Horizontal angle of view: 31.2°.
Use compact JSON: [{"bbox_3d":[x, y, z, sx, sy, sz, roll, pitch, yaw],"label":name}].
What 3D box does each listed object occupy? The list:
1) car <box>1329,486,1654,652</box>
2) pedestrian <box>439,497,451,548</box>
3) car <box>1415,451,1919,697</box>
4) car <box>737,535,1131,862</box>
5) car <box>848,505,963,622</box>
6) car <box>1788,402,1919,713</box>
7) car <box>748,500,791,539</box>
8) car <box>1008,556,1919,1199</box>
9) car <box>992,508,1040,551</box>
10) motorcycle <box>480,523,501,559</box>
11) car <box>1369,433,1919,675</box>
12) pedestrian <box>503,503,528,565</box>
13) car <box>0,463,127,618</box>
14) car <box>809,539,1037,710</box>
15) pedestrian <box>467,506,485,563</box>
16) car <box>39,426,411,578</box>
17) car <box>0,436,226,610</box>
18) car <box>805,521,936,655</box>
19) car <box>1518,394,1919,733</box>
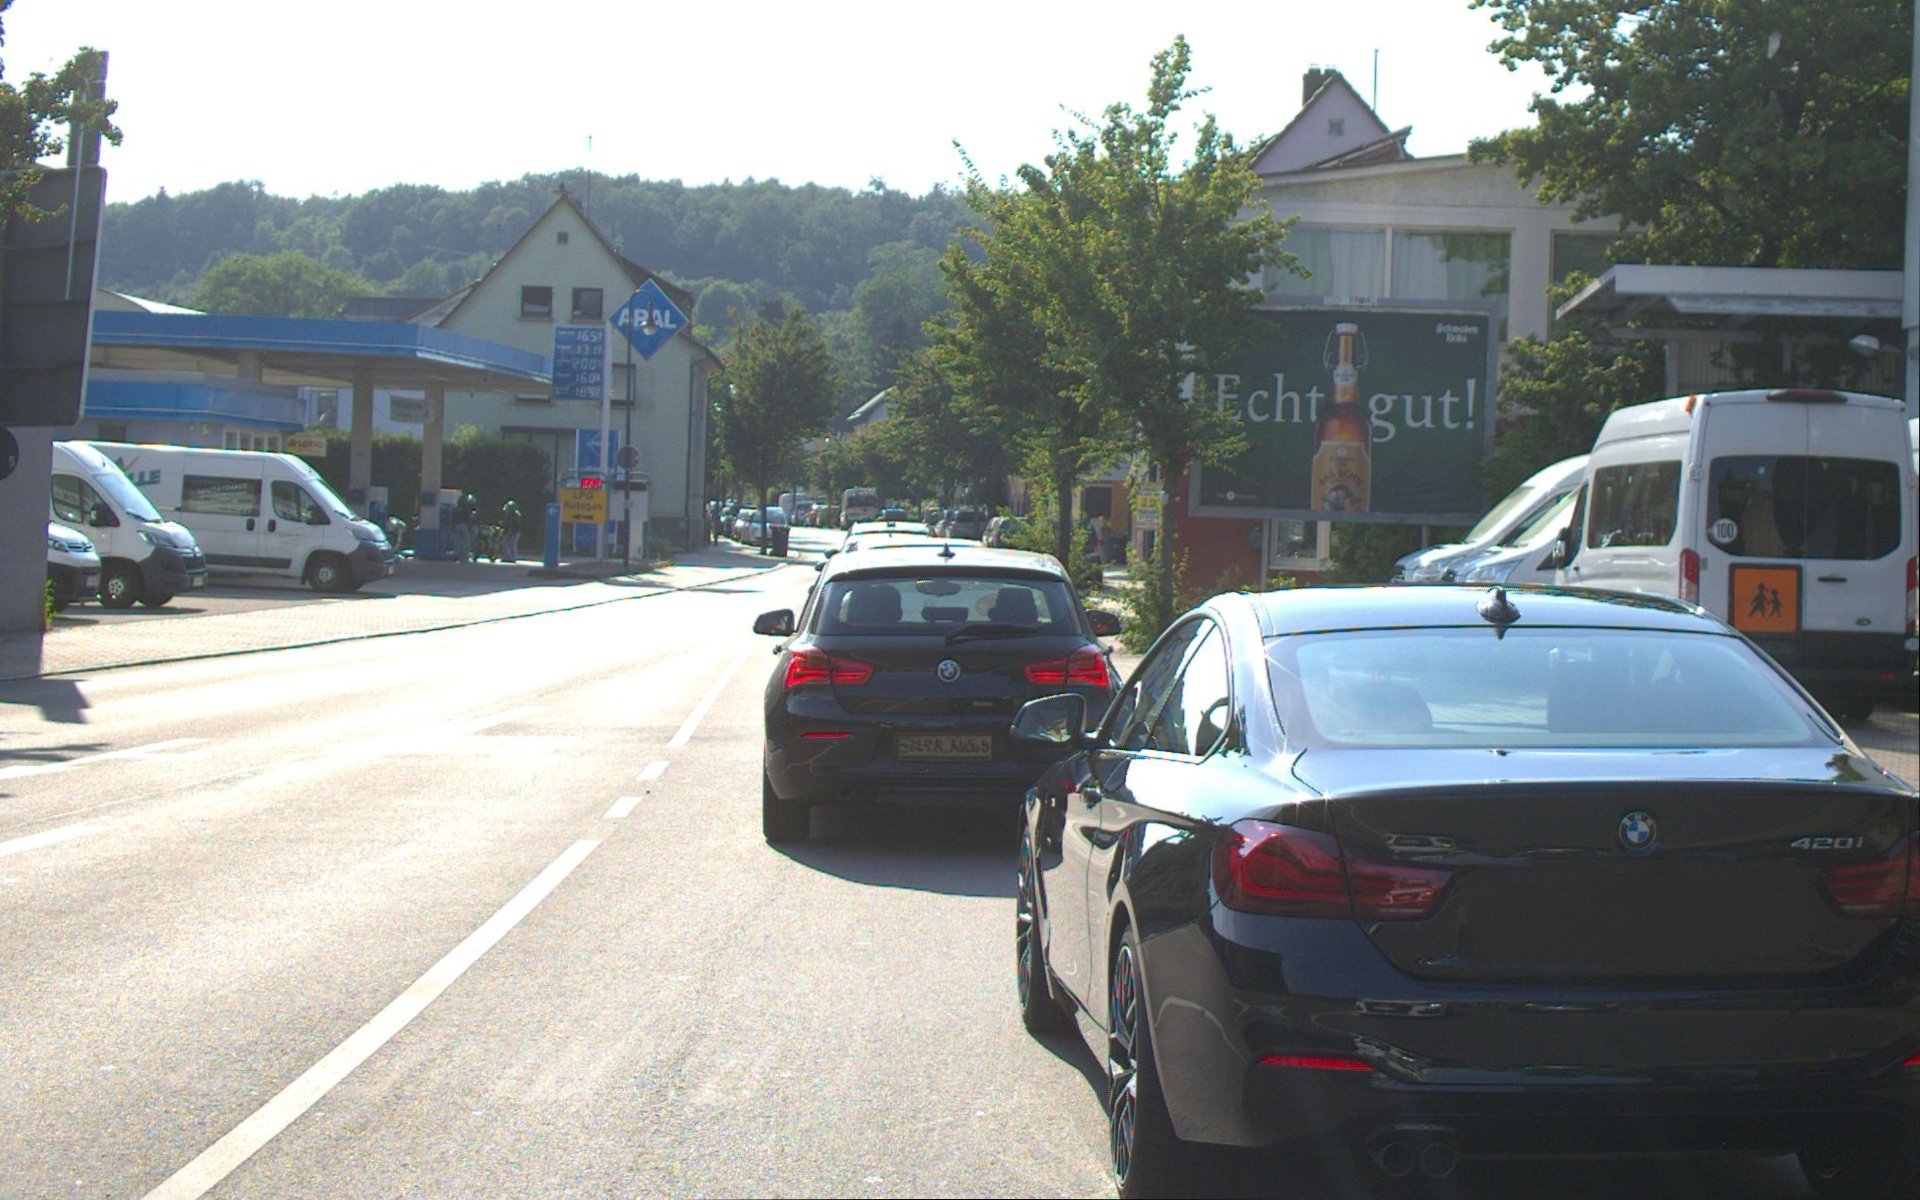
[{"bbox_3d":[6.407,-0.391,41.661,3.599,1.887,1.587,1,2,-3],"label":"car"},{"bbox_3d":[-13.817,-2.080,92.261,0.262,1.378,0.288,1,2,1],"label":"pedestrian"},{"bbox_3d":[7.917,-0.276,35.535,6.043,2.355,2.044,1,2,-2],"label":"car"},{"bbox_3d":[-0.093,0.415,17.447,1.771,1.451,3.516,1,1,1],"label":"car"},{"bbox_3d":[-0.833,-0.610,54.526,1.603,1.761,3.411,1,2,2],"label":"car"},{"bbox_3d":[9.413,-0.379,30.901,2.111,2.712,6.444,1,2,-2],"label":"car"},{"bbox_3d":[-7.738,-3.294,140.019,1.597,1.480,3.475,2,2,-1],"label":"car"},{"bbox_3d":[1.108,0.622,8.705,1.699,1.364,4.263,1,2,-3],"label":"car"},{"bbox_3d":[2.061,-2.633,127.662,1.597,1.480,3.475,2,2,-1],"label":"car"},{"bbox_3d":[-12.667,-1.587,92.710,0.363,0.940,1.696,1,2,-2],"label":"motorcycle"},{"bbox_3d":[7.788,-0.525,38.570,6.043,2.507,2.044,1,2,-2],"label":"car"},{"bbox_3d":[-12.020,-1.782,93.047,0.610,1.664,0.442,1,2,-3],"label":"pedestrian"},{"bbox_3d":[-14.044,-0.893,46.556,4.976,1.992,1.935,2,1,3],"label":"car"},{"bbox_3d":[-0.396,0.186,31.604,1.753,1.409,3.423,1,2,-6],"label":"car"},{"bbox_3d":[-13.109,-1.775,93.153,0.407,1.541,0.433,1,2,-3],"label":"pedestrian"},{"bbox_3d":[-13.223,-1.770,62.092,6.158,2.436,2.249,2,2,0],"label":"car"},{"bbox_3d":[-14.427,-1.243,52.336,5.920,2.471,2.193,2,2,4],"label":"car"},{"bbox_3d":[-1.154,-0.190,44.509,1.591,1.594,3.894,1,2,-1],"label":"car"},{"bbox_3d":[6.735,-0.389,30.800,2.149,2.671,6.604,1,2,-2],"label":"car"}]
